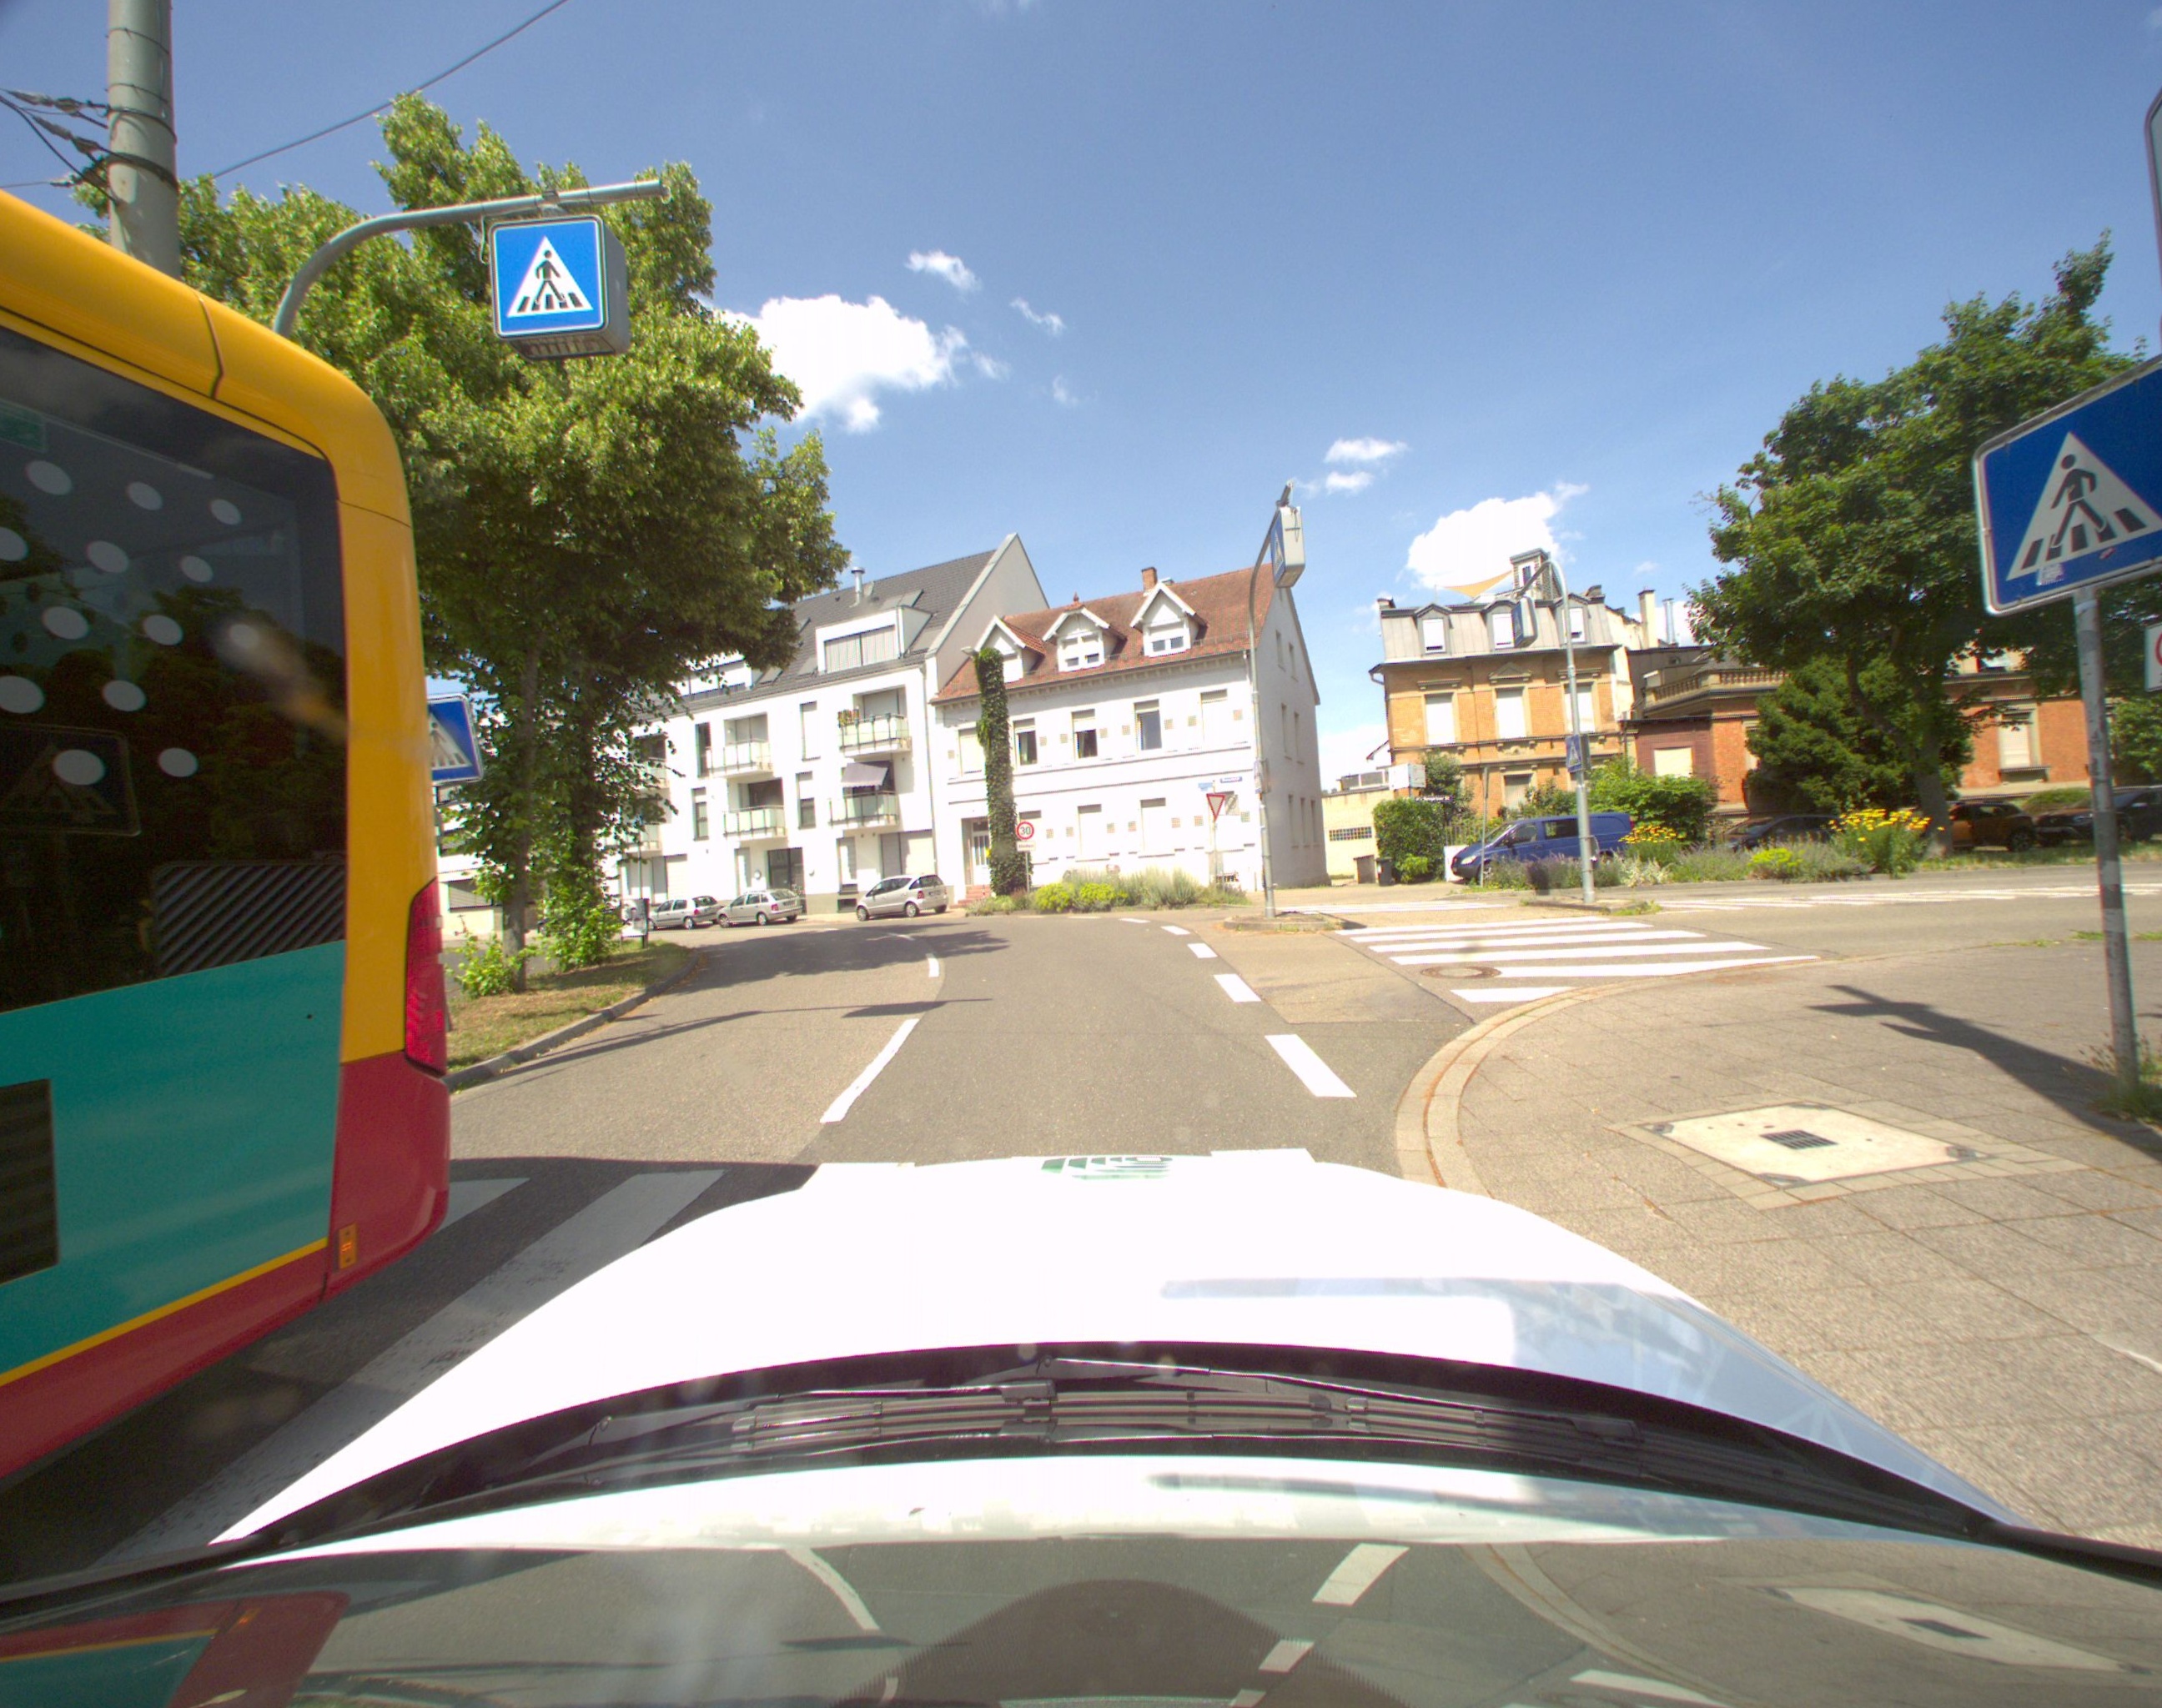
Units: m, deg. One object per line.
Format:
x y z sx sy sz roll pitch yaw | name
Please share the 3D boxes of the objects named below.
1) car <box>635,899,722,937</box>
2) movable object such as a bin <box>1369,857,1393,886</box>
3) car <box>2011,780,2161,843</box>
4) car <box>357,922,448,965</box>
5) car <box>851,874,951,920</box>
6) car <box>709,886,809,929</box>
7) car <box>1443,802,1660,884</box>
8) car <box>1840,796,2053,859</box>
-17.826 2.819 36.089 3.461 1.357 1.431 -4 3 23 | car
9.679 0.564 26.288 0.420 0.916 0.555 -1 -3 -23 | movable object such as a bin
30.864 -1.265 24.155 4.212 1.591 1.861 -2 -3 2 | car
-29.216 3.858 35.033 4.338 1.552 1.907 -6 -2 35 | car
-6.813 1.620 30.763 3.571 1.587 1.594 -4 -3 32 | car
-13.510 2.251 34.136 3.858 1.465 1.672 -4 3 29 | car
14.045 -0.314 24.658 5.192 1.947 2.089 -5 0 10 | car
25.760 -0.761 24.367 4.212 1.591 1.861 -2 -3 2 | car
